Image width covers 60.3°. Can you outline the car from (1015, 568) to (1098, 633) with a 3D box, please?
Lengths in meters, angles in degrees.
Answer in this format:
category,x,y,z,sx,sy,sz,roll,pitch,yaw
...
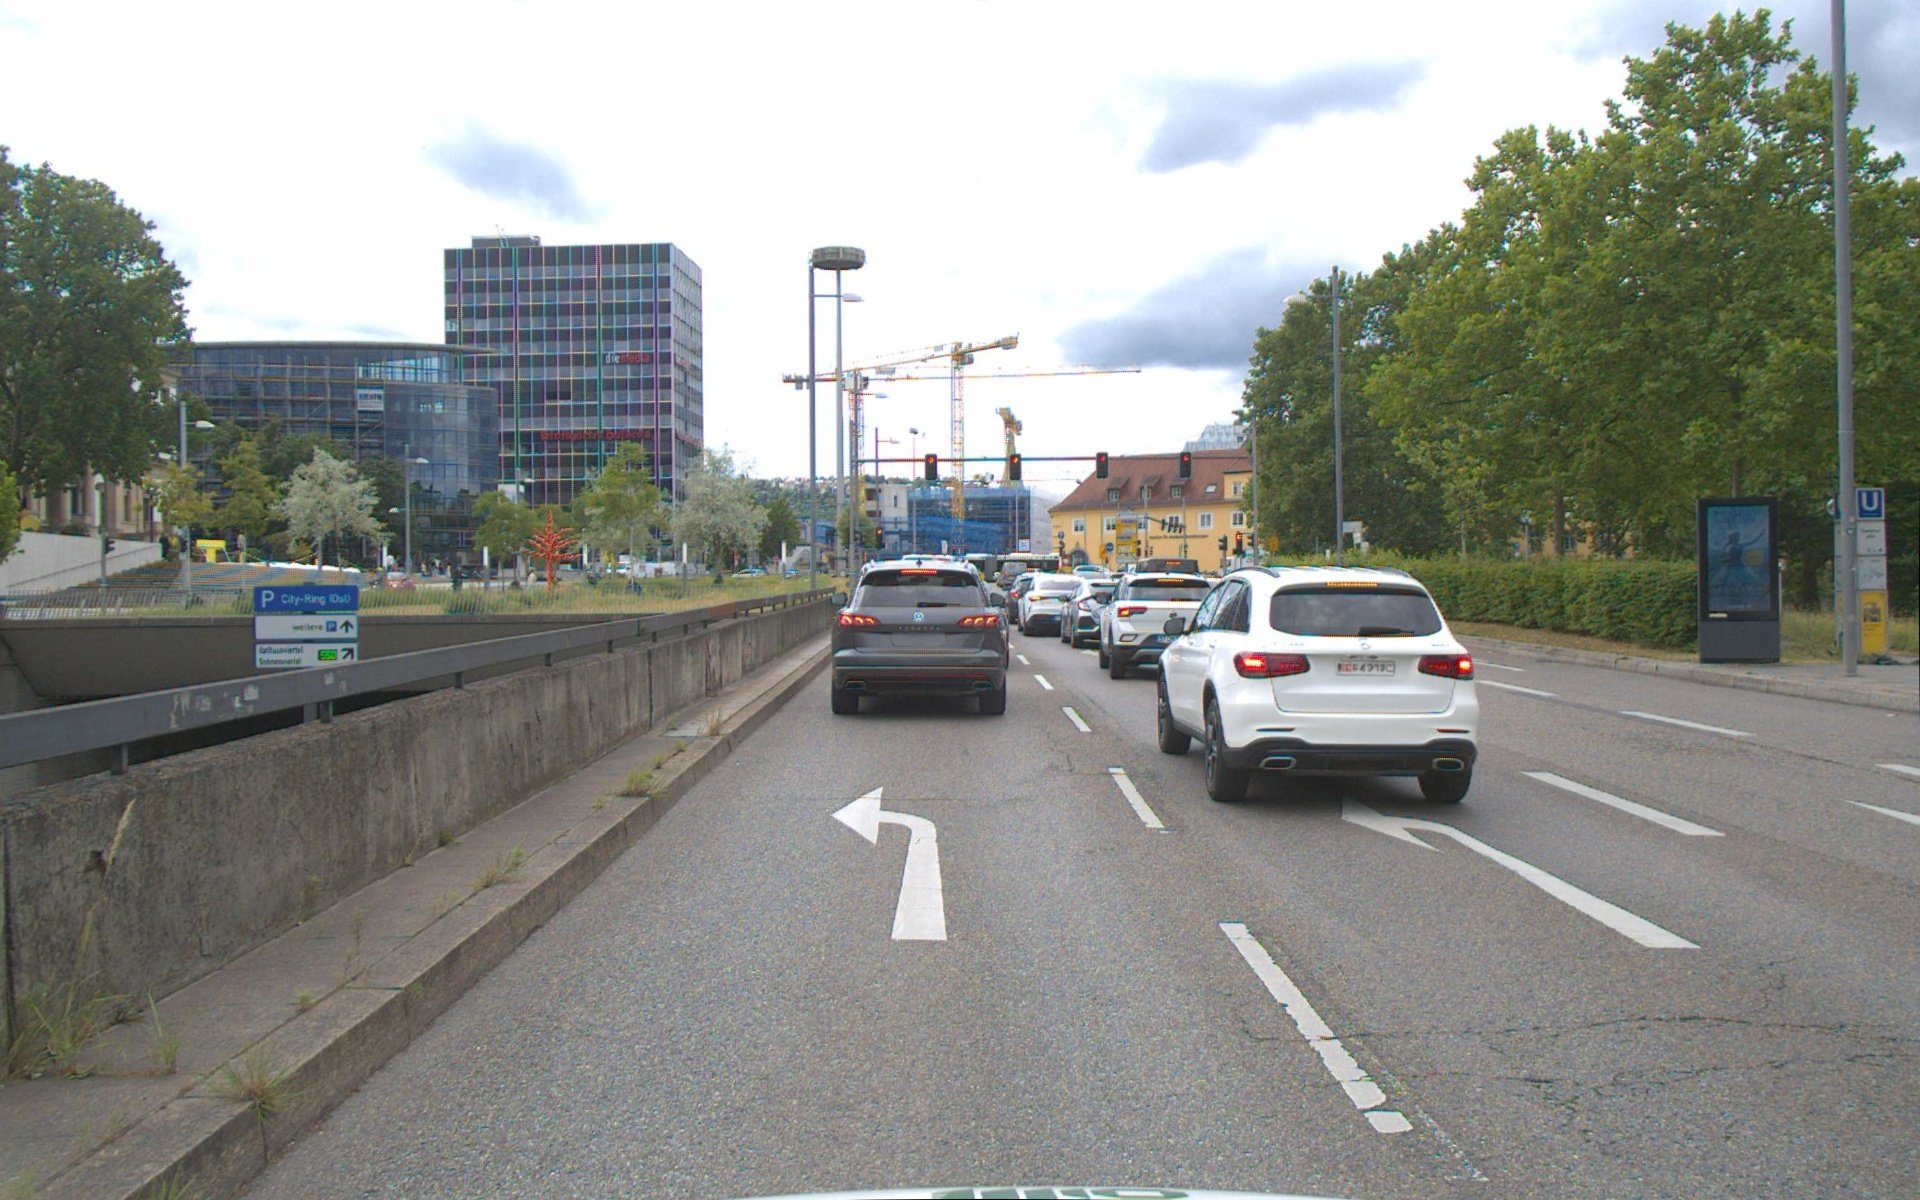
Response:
category,x,y,z,sx,sy,sz,roll,pitch,yaw
car,2.426,-0.008,42.383,1.887,1.556,4.490,0,0,0

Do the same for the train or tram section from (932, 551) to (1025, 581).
category,x,y,z,sx,sy,sz,roll,pitch,yaw
train or tram section,1.943,-3.688,177.909,10.217,3.062,2.587,1,-1,35

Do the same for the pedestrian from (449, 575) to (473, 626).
category,x,y,z,sx,sy,sz,roll,pitch,yaw
pedestrian,-20.509,0.013,67.969,0.781,2.048,0.829,-2,2,-28

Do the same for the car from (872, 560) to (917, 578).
category,x,y,z,sx,sy,sz,roll,pitch,yaw
car,-6.282,-2.932,158.822,4.029,1.638,1.823,1,-1,35

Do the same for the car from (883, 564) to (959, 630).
category,x,y,z,sx,sy,sz,roll,pitch,yaw
car,-1.043,-0.106,44.390,1.912,1.627,3.930,1,1,-1

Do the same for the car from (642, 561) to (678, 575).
category,x,y,z,sx,sy,sz,roll,pitch,yaw
car,-36.297,-3.852,200.166,3.908,1.596,1.835,1,0,25

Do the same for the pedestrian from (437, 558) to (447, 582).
category,x,y,z,sx,sy,sz,roll,pitch,yaw
pedestrian,-43.987,-2.555,140.432,0.728,2.048,0.788,-1,2,-21

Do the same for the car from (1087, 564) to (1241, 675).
category,x,y,z,sx,sy,sz,roll,pitch,yaw
car,3.106,0.262,26.021,1.887,1.578,4.490,0,0,0

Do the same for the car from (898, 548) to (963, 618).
category,x,y,z,sx,sy,sz,roll,pitch,yaw
car,-0.930,-0.551,51.963,1.912,2.053,3.930,1,1,-1

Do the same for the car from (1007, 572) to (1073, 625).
category,x,y,z,sx,sy,sz,roll,pitch,yaw
car,2.434,-0.064,51.204,1.887,1.556,4.048,0,0,0

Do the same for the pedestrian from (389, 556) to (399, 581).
category,x,y,z,sx,sy,sz,roll,pitch,yaw
pedestrian,-46.880,-2.648,137.100,0.728,2.048,0.788,-1,2,-21

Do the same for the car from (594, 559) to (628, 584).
category,x,y,z,sx,sy,sz,roll,pitch,yaw
car,-30.460,-2.501,144.477,1.953,2.048,4.693,0,2,0

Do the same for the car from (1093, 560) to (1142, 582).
category,x,y,z,sx,sy,sz,roll,pitch,yaw
car,15.627,-2.871,163.909,4.367,2.049,1.994,1,-1,33

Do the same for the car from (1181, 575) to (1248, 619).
category,x,y,z,sx,sy,sz,roll,pitch,yaw
car,9.089,-0.110,59.349,1.722,1.472,3.632,1,0,-2

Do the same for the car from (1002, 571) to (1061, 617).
category,x,y,z,sx,sy,sz,roll,pitch,yaw
car,2.449,-0.217,57.491,1.887,1.556,4.048,0,0,0

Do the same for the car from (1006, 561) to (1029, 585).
category,x,y,z,sx,sy,sz,roll,pitch,yaw
car,4.337,-2.033,124.793,1.586,1.656,4.000,1,0,0

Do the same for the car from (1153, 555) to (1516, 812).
category,x,y,z,sx,sy,sz,roll,pitch,yaw
car,2.719,0.518,13.092,1.887,1.682,4.490,0,1,0

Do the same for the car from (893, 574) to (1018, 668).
category,x,y,z,sx,sy,sz,roll,pitch,yaw
car,-0.106,0.302,27.604,1.912,1.408,3.930,1,1,-1

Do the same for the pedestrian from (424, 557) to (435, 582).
category,x,y,z,sx,sy,sz,roll,pitch,yaw
pedestrian,-44.325,-2.567,138.209,0.728,2.048,1.108,-1,2,-21

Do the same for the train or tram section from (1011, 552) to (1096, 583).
category,x,y,z,sx,sy,sz,roll,pitch,yaw
train or tram section,9.694,-3.434,172.437,8.770,3.062,2.587,1,-1,35

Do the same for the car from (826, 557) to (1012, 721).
category,x,y,z,sx,sy,sz,roll,pitch,yaw
car,-0.455,0.370,19.060,1.912,1.680,3.999,0,1,-1

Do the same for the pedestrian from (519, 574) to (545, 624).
category,x,y,z,sx,sy,sz,roll,pitch,yaw
pedestrian,-17.609,-0.046,68.044,0.842,2.048,0.629,-1,2,-2

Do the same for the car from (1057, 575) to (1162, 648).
category,x,y,z,sx,sy,sz,roll,pitch,yaw
car,3.149,0.220,35.671,1.887,1.457,4.490,0,0,0

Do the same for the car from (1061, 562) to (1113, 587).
category,x,y,z,sx,sy,sz,roll,pitch,yaw
car,10.823,-2.165,141.031,3.916,2.049,1.994,1,-1,33

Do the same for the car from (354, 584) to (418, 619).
category,x,y,z,sx,sy,sz,roll,pitch,yaw
car,-32.629,0.060,94.155,2.131,1.887,4.735,-1,1,-2

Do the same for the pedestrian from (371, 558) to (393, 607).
category,x,y,z,sx,sy,sz,roll,pitch,yaw
pedestrian,-25.232,-0.775,72.171,0.716,2.047,0.628,-1,6,-8

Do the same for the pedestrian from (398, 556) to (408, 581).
category,x,y,z,sx,sy,sz,roll,pitch,yaw
pedestrian,-45.976,-2.628,136.571,0.728,2.048,0.788,-1,2,-21

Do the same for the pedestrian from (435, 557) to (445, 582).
category,x,y,z,sx,sy,sz,roll,pitch,yaw
pedestrian,-43.581,-2.555,138.689,0.728,2.048,0.788,-1,2,-21

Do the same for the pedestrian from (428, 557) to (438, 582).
category,x,y,z,sx,sy,sz,roll,pitch,yaw
pedestrian,-44.428,-2.573,139.335,0.728,2.048,0.788,-1,2,-21

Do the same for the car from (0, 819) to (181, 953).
category,x,y,z,sx,sy,sz,roll,pitch,yaw
car,-17.052,5.401,31.500,1.955,1.667,5.247,-6,-1,-2

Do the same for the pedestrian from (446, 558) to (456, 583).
category,x,y,z,sx,sy,sz,roll,pitch,yaw
pedestrian,-43.082,-2.525,140.084,0.728,2.048,1.108,-1,2,-21

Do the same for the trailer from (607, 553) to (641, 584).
category,x,y,z,sx,sy,sz,roll,pitch,yaw
trailer,-30.342,-2.861,149.639,1.996,2.650,5.508,1,2,-1

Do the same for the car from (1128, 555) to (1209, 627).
category,x,y,z,sx,sy,sz,roll,pitch,yaw
car,6.244,-0.270,49.908,1.871,2.049,4.012,1,0,0
